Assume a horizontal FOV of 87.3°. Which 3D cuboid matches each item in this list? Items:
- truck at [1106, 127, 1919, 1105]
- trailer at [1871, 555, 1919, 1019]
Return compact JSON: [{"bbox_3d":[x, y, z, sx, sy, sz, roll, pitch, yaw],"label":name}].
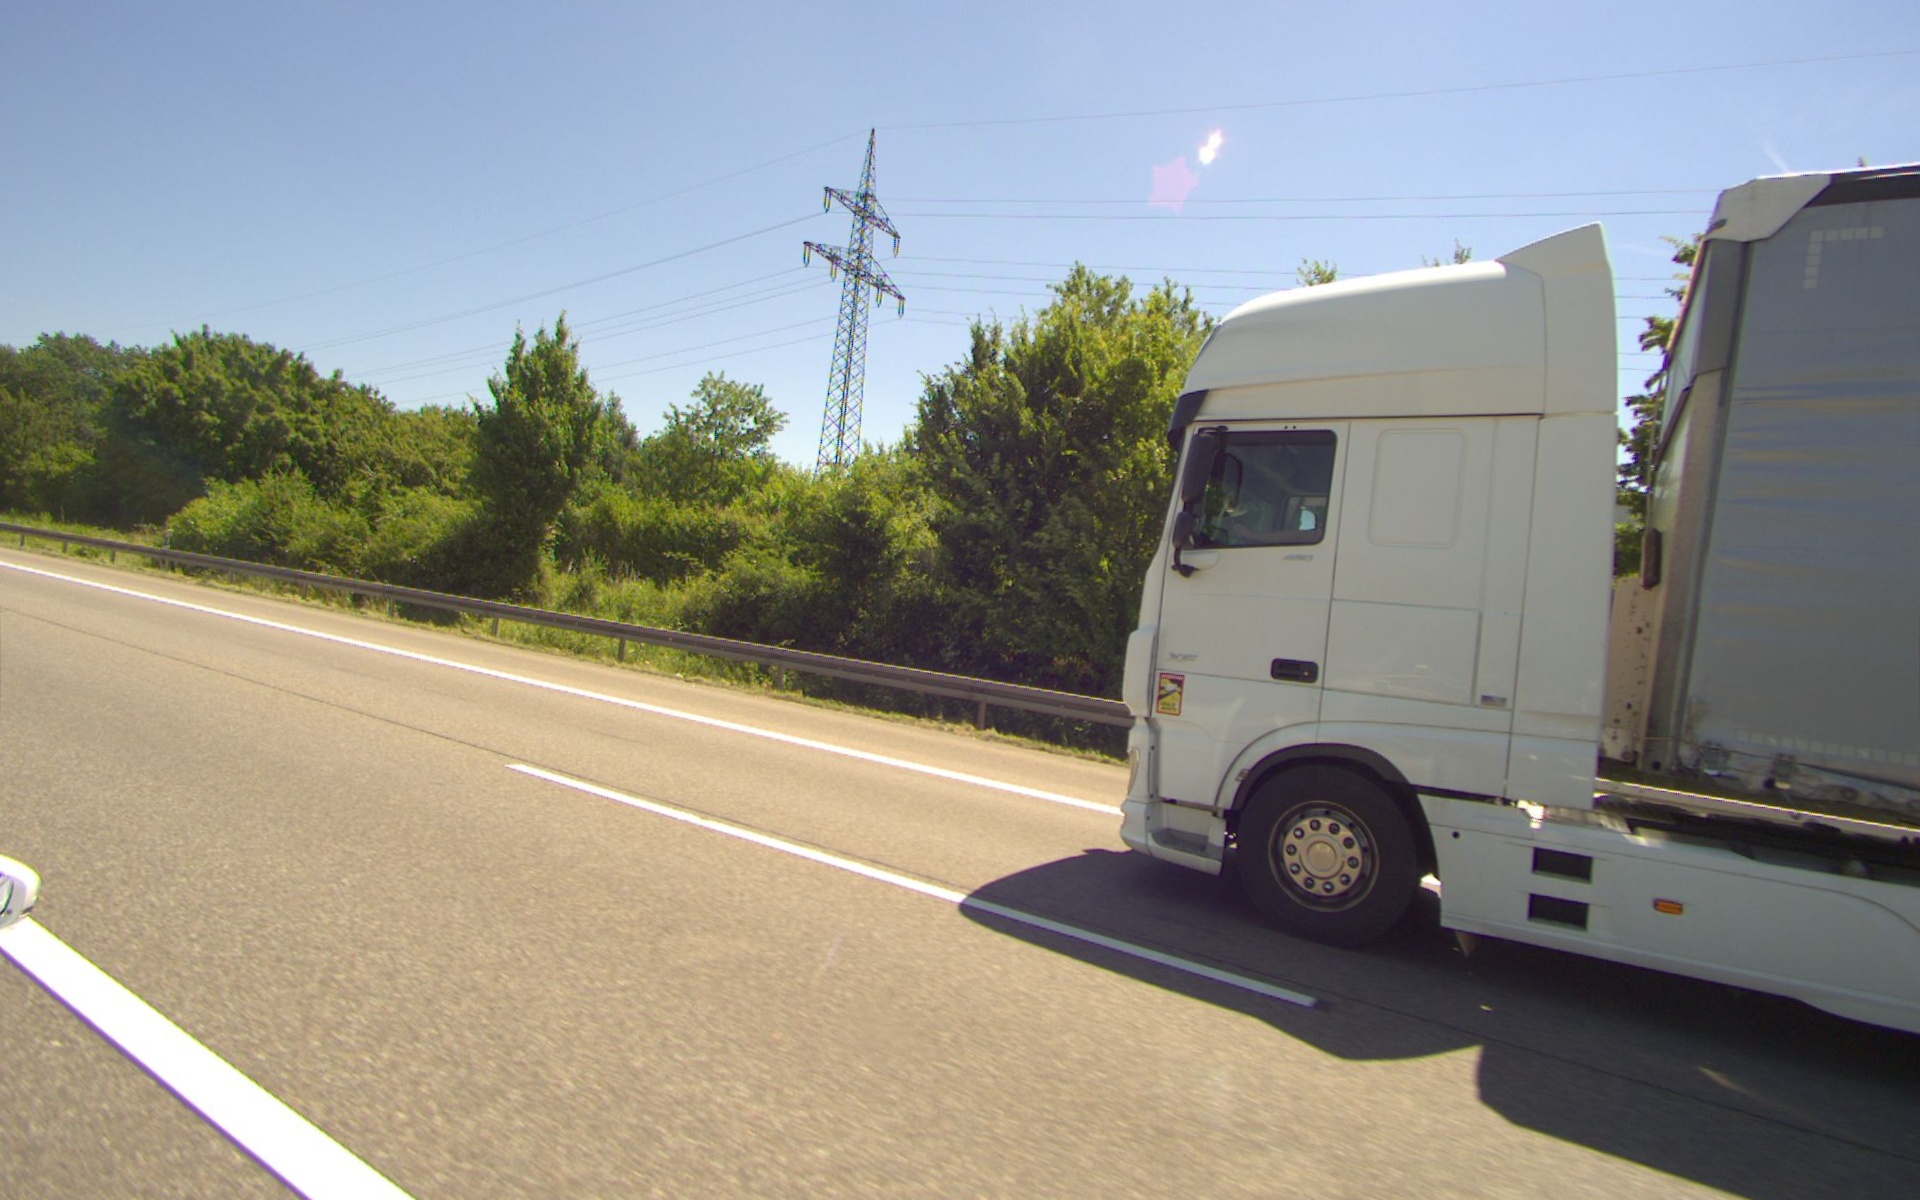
[{"bbox_3d":[4.376,0.096,5.735,6.023,4.169,2.740,6,-1,32],"label":"truck"},{"bbox_3d":[10.750,0.797,1.783,12.904,4.155,2.740,6,-1,32],"label":"trailer"}]
